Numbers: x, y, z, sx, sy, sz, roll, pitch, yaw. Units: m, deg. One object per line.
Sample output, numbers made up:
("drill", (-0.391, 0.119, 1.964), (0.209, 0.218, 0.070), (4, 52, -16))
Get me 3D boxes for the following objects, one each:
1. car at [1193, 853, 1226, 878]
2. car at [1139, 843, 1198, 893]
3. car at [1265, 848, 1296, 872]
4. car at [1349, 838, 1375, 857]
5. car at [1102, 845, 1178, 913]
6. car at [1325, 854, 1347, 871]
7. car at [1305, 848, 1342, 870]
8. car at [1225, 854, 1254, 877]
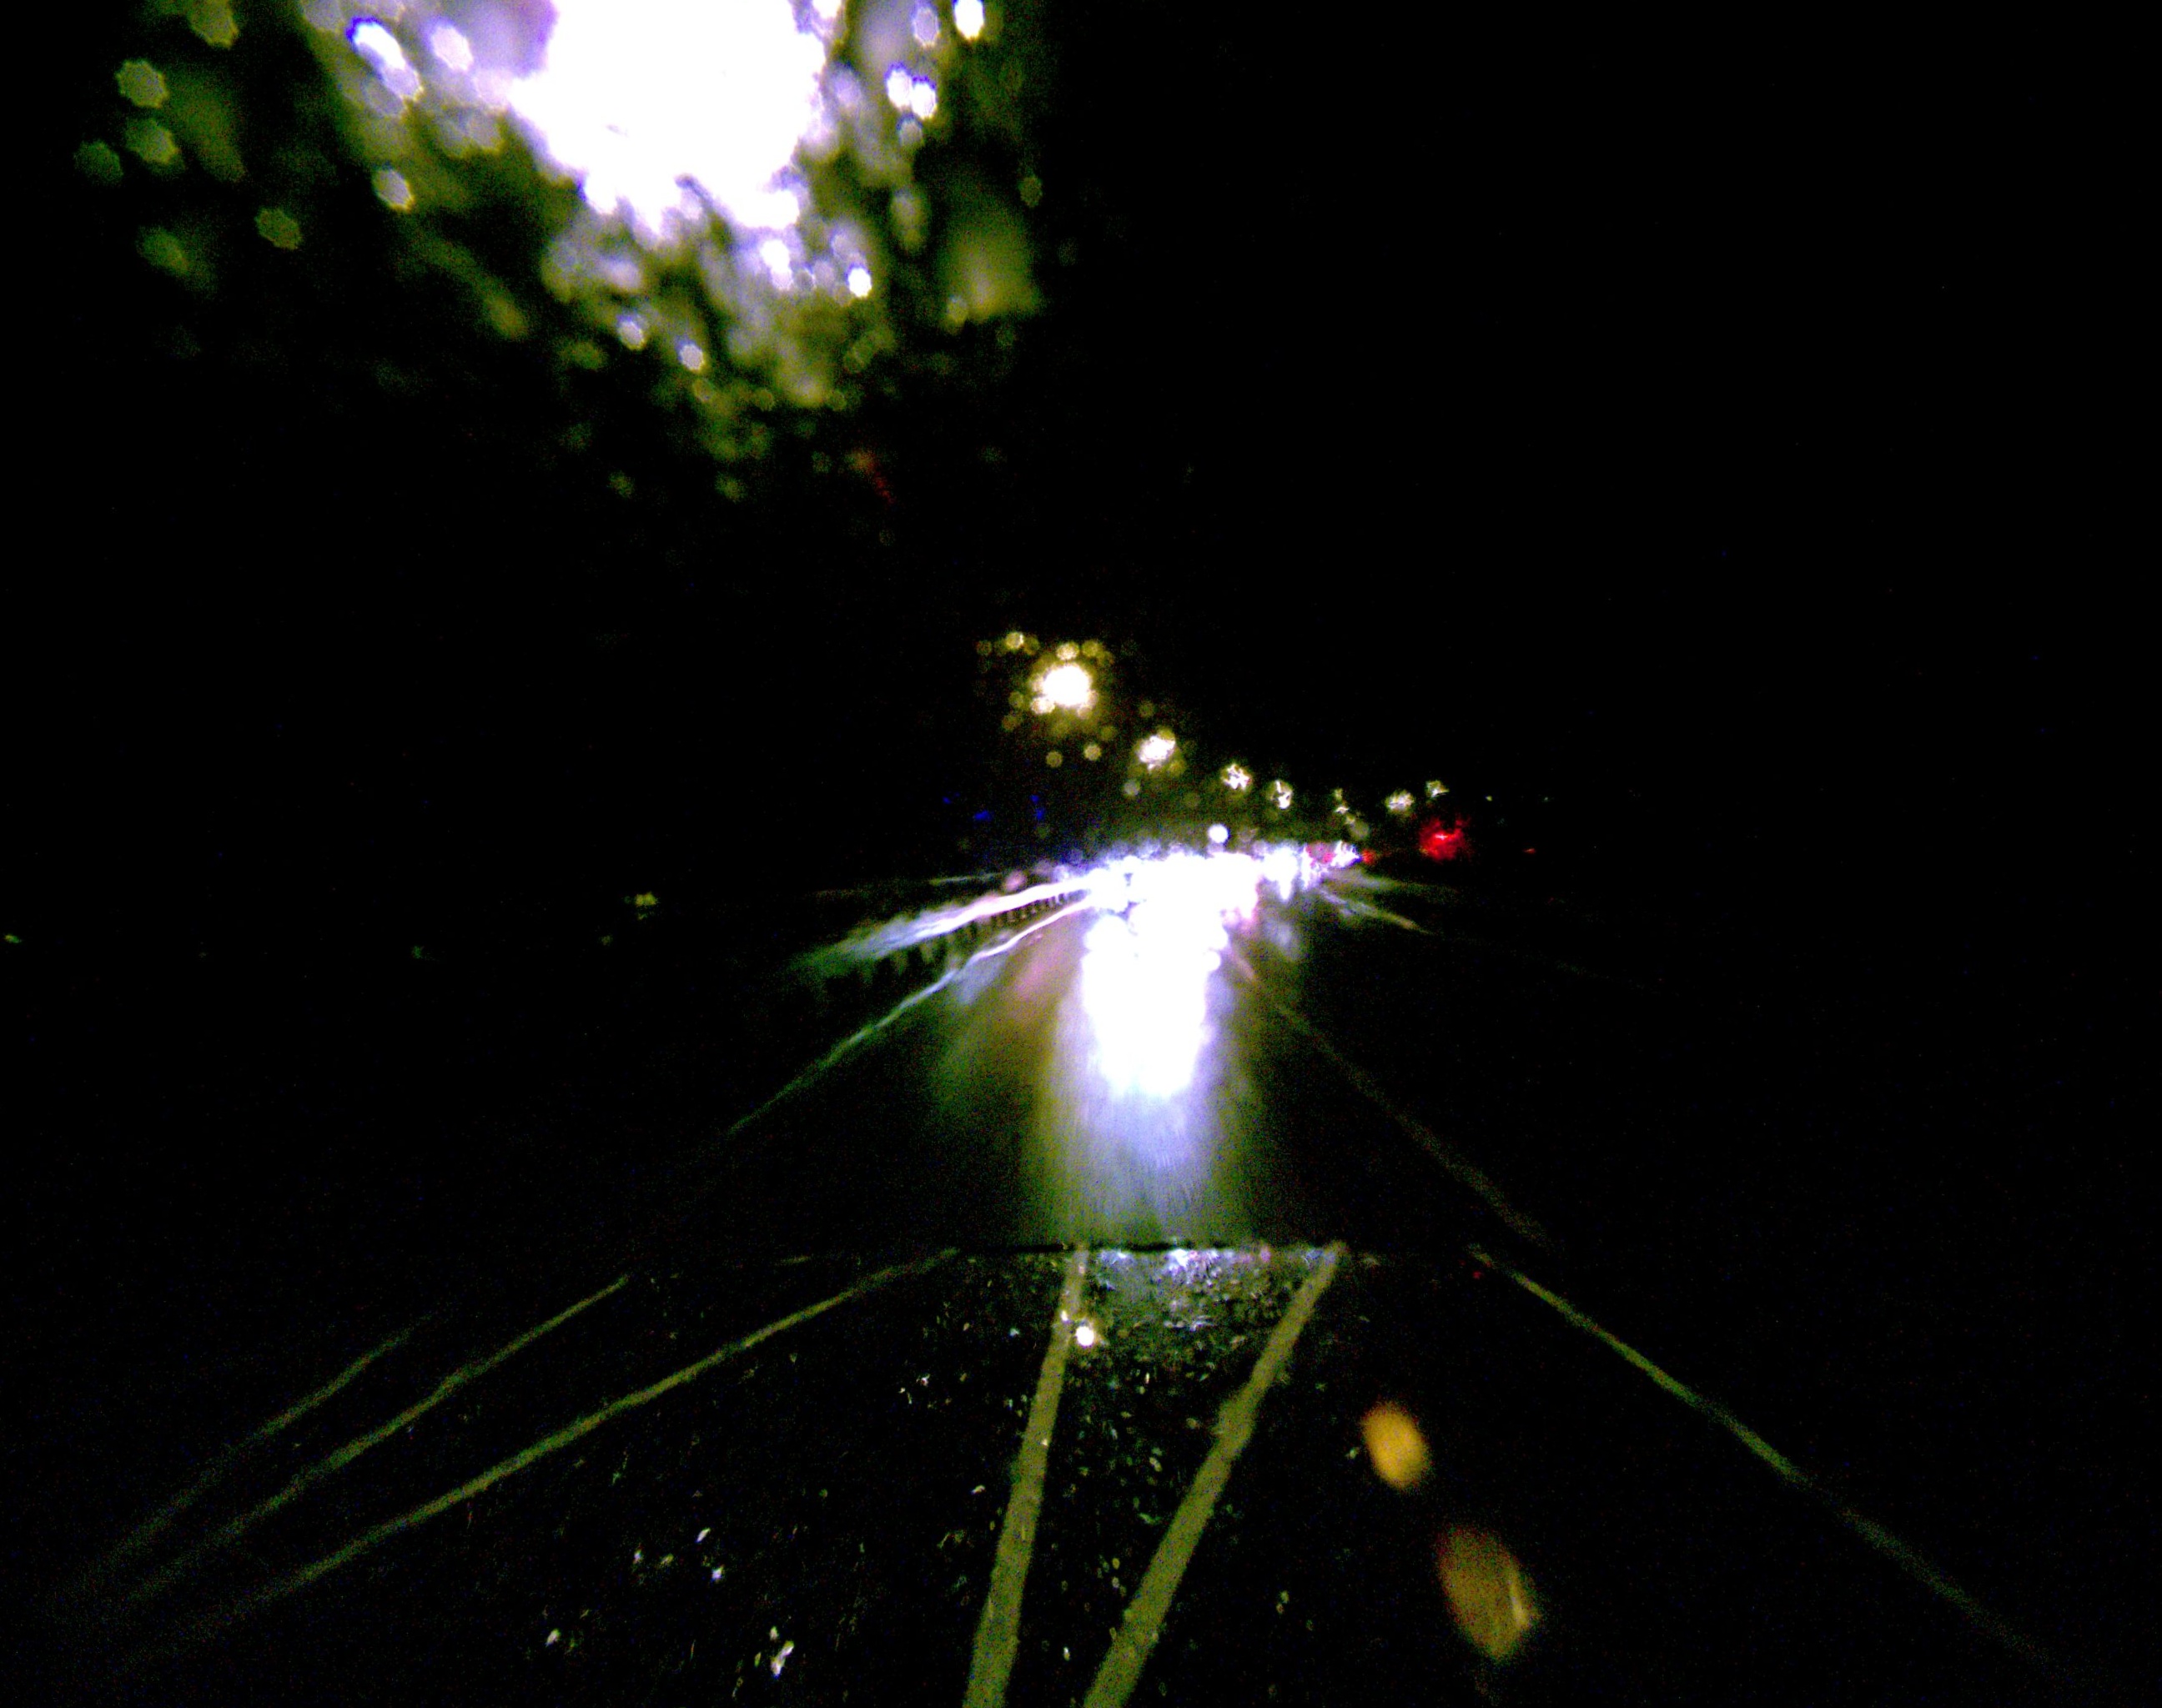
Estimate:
("car", (8.173, 0.729, 48.186), (1.520, 1.516, 3.112), (-1, 0, 20))
("car", (3.950, 0.557, 33.586), (1.996, 2.002, 4.003), (1, 2, 15))
("car", (19.345, 0.572, 73.442), (1.653, 2.000, 4.008), (-10, -5, 30))
("car", (28.249, -0.616, 76.396), (1.754, 1.850, 4.008), (1, 1, 30))
("car", (1.753, 0.689, 21.509), (1.926, 1.704, 4.242), (1, -1, 7))
("car", (32.597, 1.086, 96.964), (1.653, 2.000, 4.008), (-10, -5, 29))
("car", (20.257, 0.365, 63.405), (2.023, 1.709, 4.990), (0, 1, 28))
("car", (12.161, 0.840, 58.061), (1.303, 1.519, 3.051), (-9, -3, 25))
